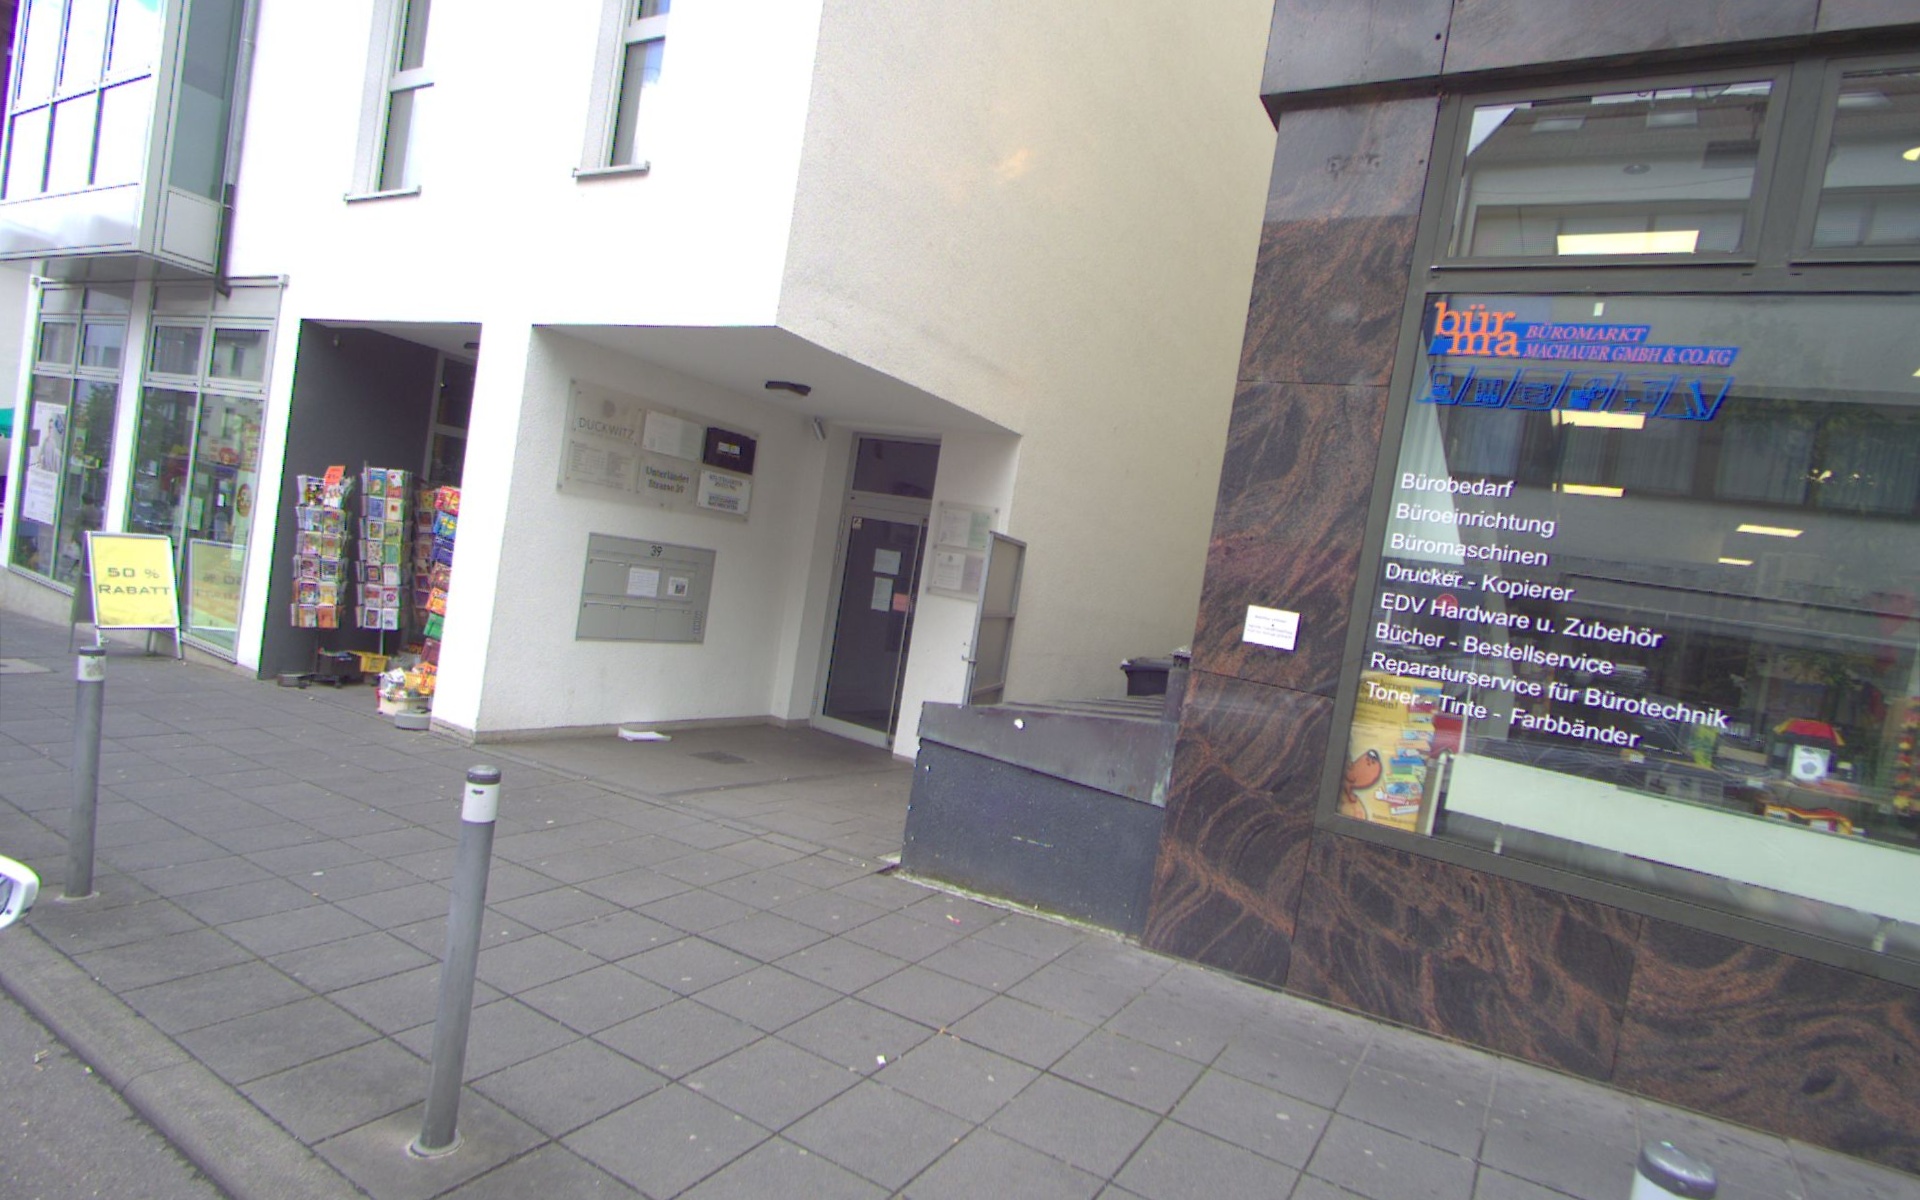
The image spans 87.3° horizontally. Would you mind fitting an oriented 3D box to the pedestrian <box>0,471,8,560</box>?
[{"bbox_3d":[-15.143,-1.165,15.387,0.556,1.710,0.574,7,1,26],"label":"pedestrian"}]
